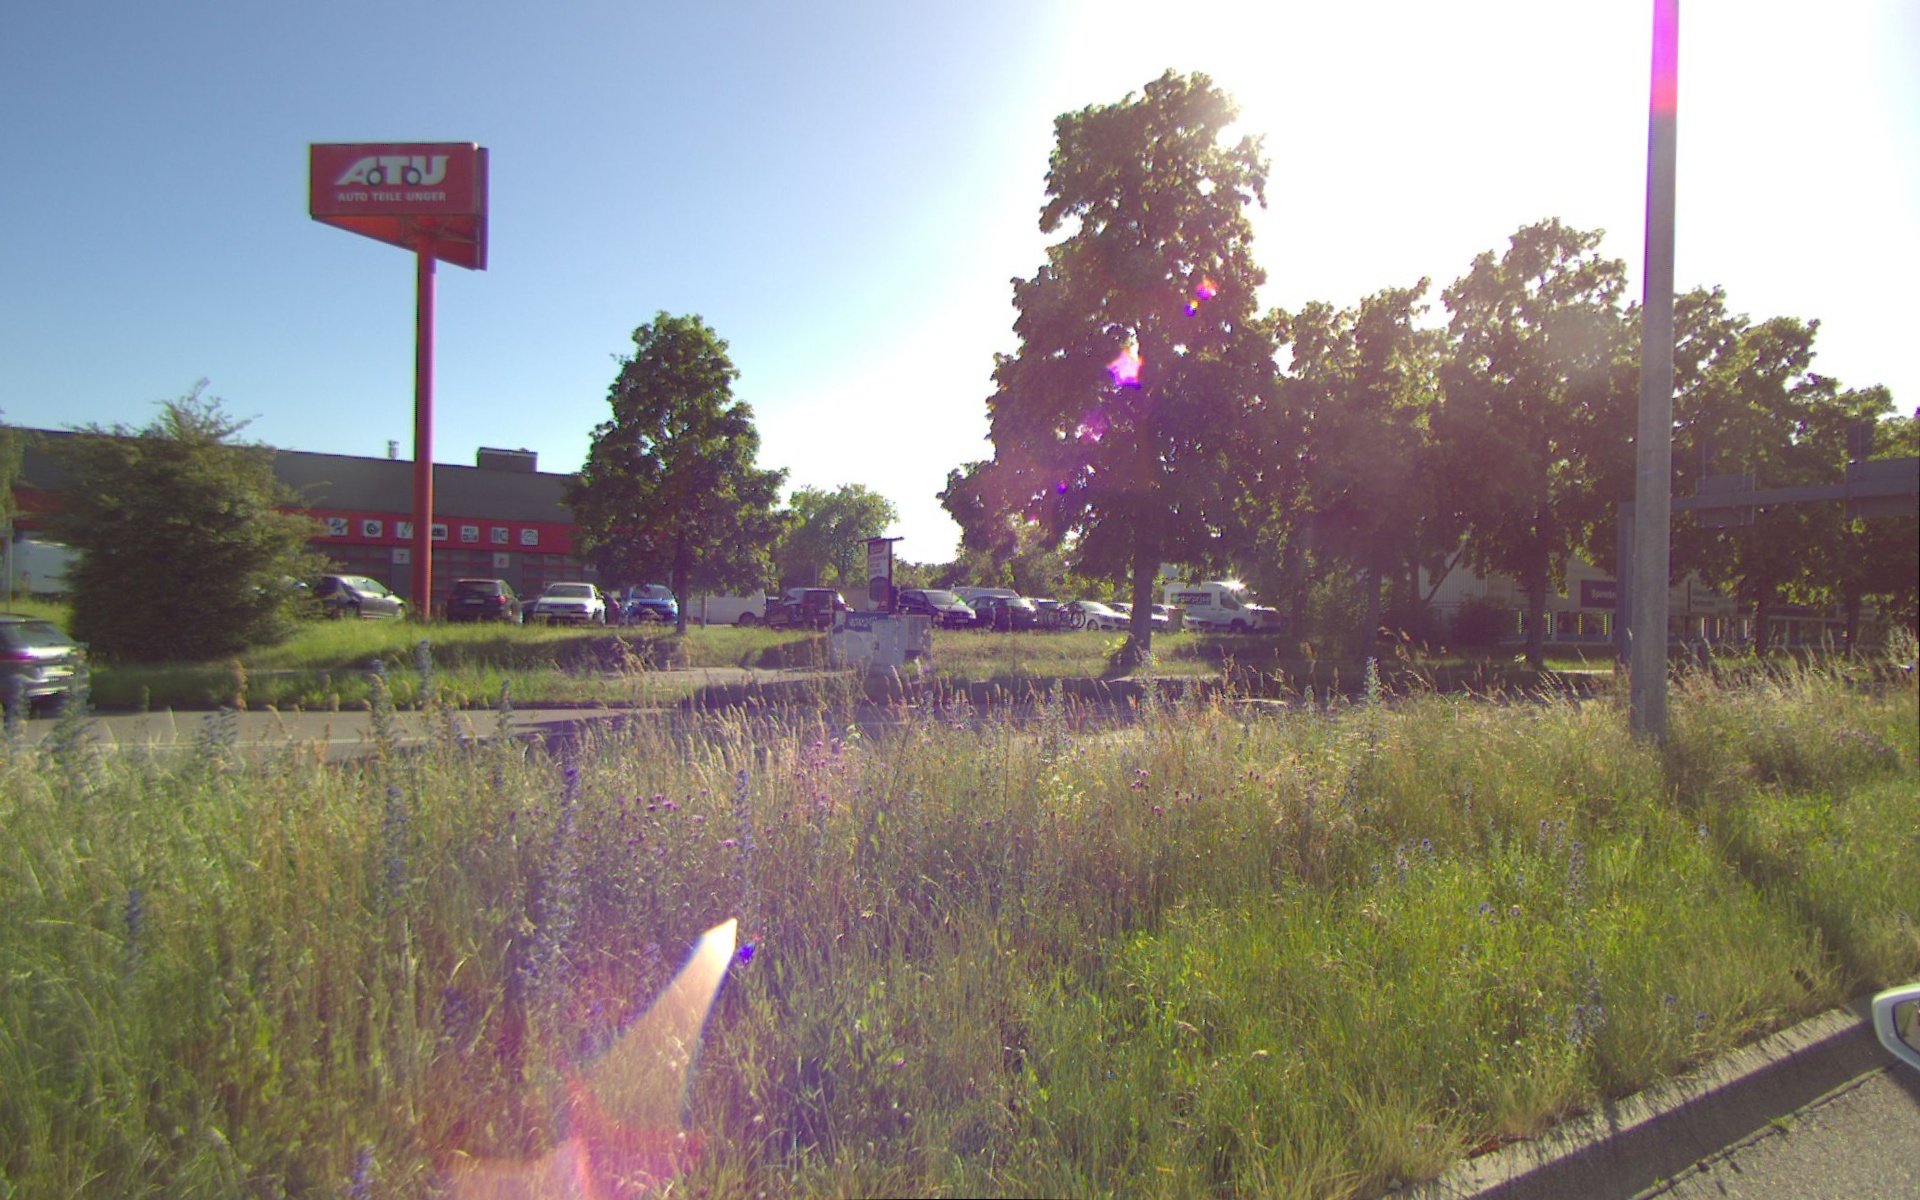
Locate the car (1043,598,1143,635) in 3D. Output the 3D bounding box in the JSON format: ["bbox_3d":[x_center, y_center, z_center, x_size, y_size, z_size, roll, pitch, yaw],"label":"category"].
[{"bbox_3d":[5.428,0.681,41.361,1.926,1.407,4.095,2,-1,-32],"label":"car"}]

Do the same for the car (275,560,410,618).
[{"bbox_3d":[-18.276,-0.272,29.963,1.860,1.572,4.127,1,-1,-7],"label":"car"}]

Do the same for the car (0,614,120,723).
[{"bbox_3d":[-14.657,0.909,13.864,4.303,1.444,1.783,1,-2,-10],"label":"car"}]

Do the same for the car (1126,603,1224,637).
[{"bbox_3d":[9.477,0.875,44.578,1.926,1.407,4.095,2,-1,-32],"label":"car"}]

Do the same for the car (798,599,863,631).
[{"bbox_3d":[-6.411,0.715,49.338,1.871,1.474,4.103,2,-1,-27],"label":"car"}]

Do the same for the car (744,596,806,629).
[{"bbox_3d":[-8.950,0.598,48.363,1.871,1.474,4.103,2,-1,-27],"label":"car"}]

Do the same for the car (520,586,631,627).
[{"bbox_3d":[-15.275,0.278,39.946,3.935,1.474,1.772,2,-1,-29],"label":"car"}]

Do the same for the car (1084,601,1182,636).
[{"bbox_3d":[7.363,0.774,43.072,1.926,1.407,4.095,2,-1,-32],"label":"car"}]

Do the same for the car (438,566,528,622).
[{"bbox_3d":[-14.560,-0.145,30.884,1.865,1.572,4.117,1,-1,-17],"label":"car"}]

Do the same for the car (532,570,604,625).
[{"bbox_3d":[-12.299,-0.043,31.709,1.866,1.572,4.115,1,-1,-18],"label":"car"}]

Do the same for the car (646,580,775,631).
[{"bbox_3d":[-10.595,0.257,42.728,5.062,1.982,1.773,2,-1,-26],"label":"car"}]

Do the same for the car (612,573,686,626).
[{"bbox_3d":[-10.181,0.024,32.726,1.794,1.572,4.107,2,-1,-24],"label":"car"}]

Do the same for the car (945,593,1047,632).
[{"bbox_3d":[1.307,0.477,38.459,1.925,1.407,4.095,2,-1,-32],"label":"car"}]

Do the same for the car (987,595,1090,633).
[{"bbox_3d":[3.046,0.555,39.987,1.923,1.407,4.600,2,-1,-29],"label":"car"}]

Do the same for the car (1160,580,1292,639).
[{"bbox_3d":[11.911,0.439,45.500,2.183,2.465,5.844,2,-1,-32],"label":"car"}]

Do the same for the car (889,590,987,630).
[{"bbox_3d":[-0.880,0.376,37.729,1.924,1.407,4.098,2,-1,-30],"label":"car"}]

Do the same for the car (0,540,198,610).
[{"bbox_3d":[-30.076,-0.798,35.211,1.861,2.180,5.040,1,-1,28],"label":"car"}]

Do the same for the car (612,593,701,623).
[{"bbox_3d":[-16.049,0.431,53.198,4.235,1.474,1.881,2,-1,-29],"label":"car"}]

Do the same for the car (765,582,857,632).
[{"bbox_3d":[-5.173,0.253,34.473,1.921,1.572,4.104,2,-1,-26],"label":"car"}]

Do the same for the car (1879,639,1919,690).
[{"bbox_3d":[31.670,2.069,32.289,4.518,1.563,1.868,2,-3,-30],"label":"car"}]
